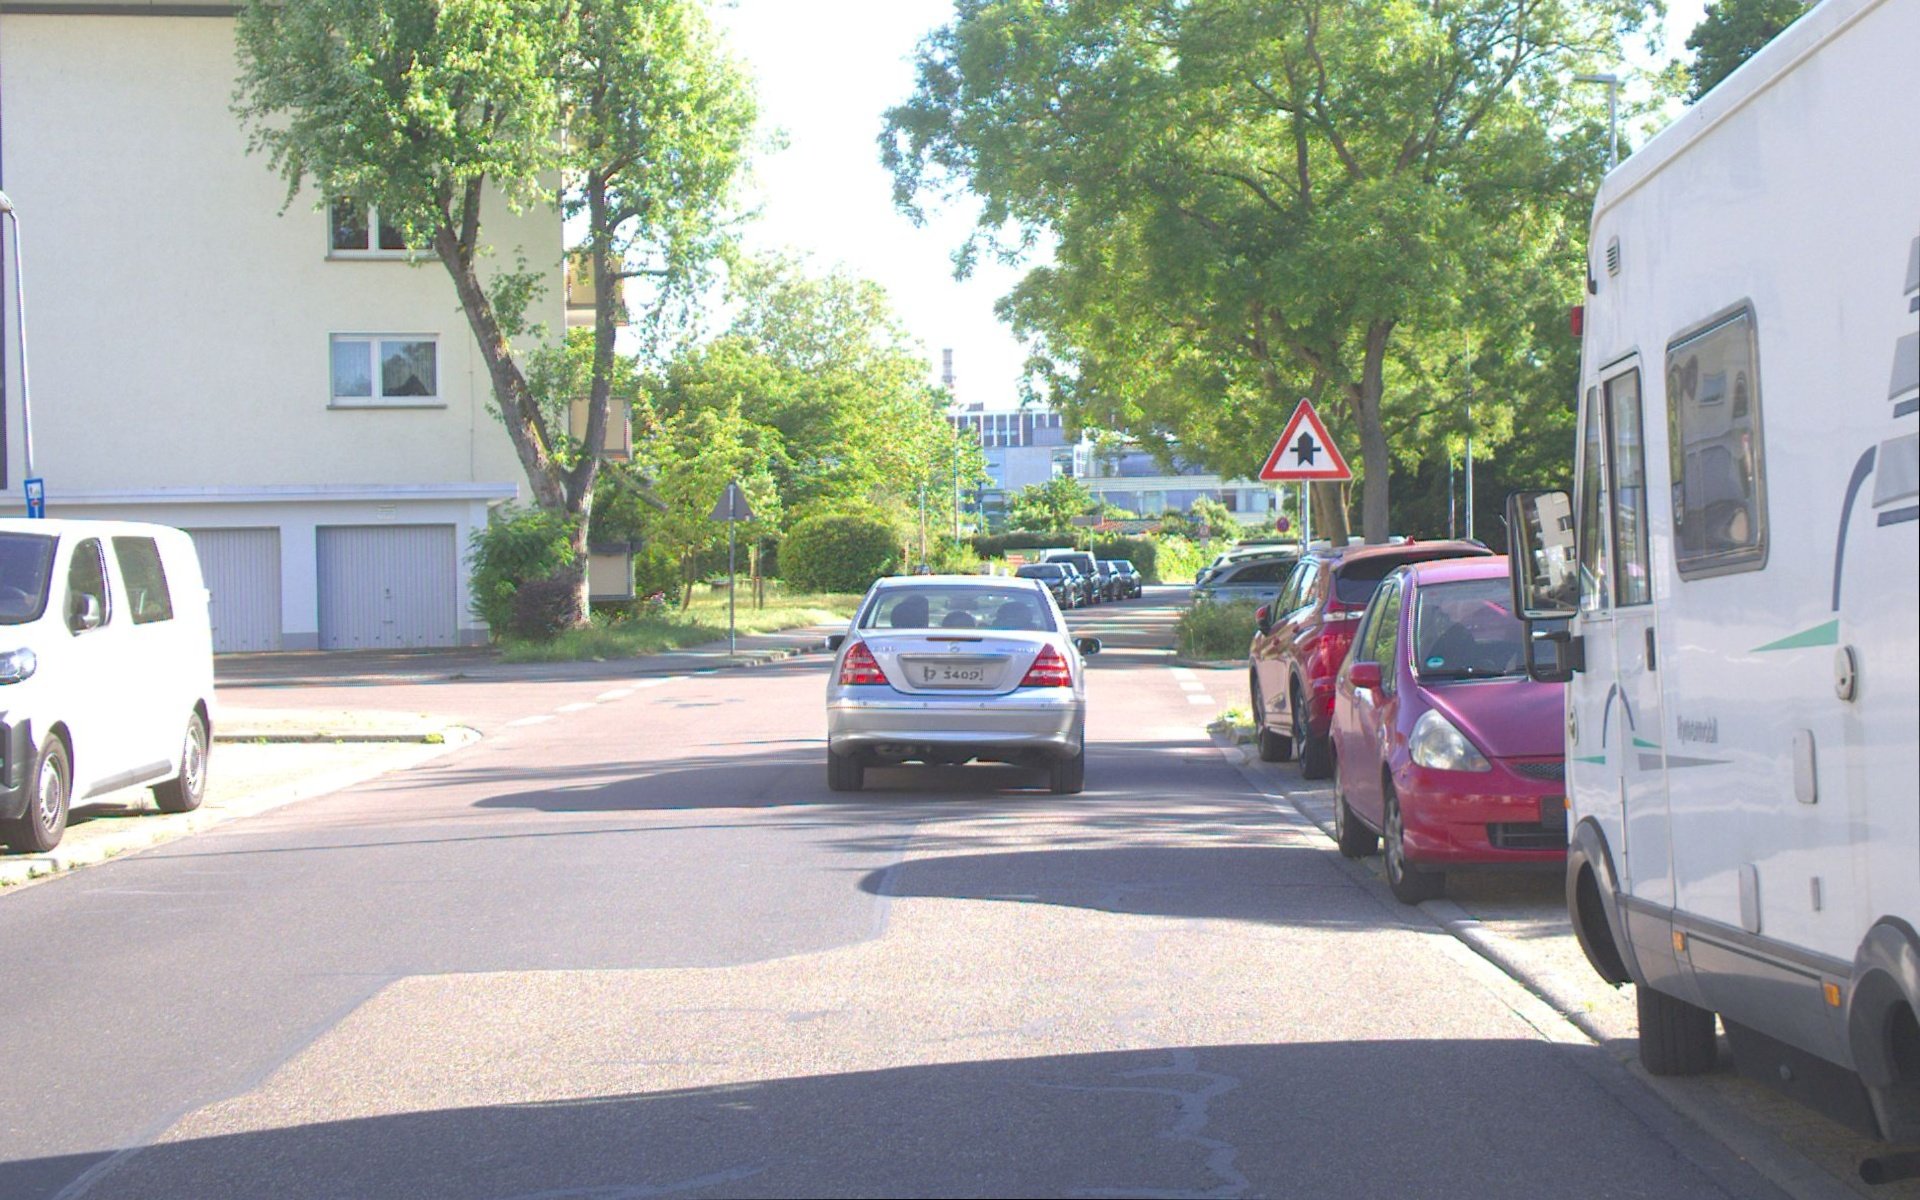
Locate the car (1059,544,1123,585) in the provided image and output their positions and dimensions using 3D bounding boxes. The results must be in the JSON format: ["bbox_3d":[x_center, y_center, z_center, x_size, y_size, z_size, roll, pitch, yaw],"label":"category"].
[{"bbox_3d":[4.747,-1.293,124.137,1.751,1.325,3.449,-3,1,11],"label":"car"}]

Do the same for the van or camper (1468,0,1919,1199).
[{"bbox_3d":[2.987,-0.187,7.798,2.496,2.835,6.852,-2,1,-1],"label":"van or camper"}]

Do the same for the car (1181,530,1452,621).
[{"bbox_3d":[6.463,-0.463,62.750,4.782,1.543,2.011,-1,1,3],"label":"car"}]

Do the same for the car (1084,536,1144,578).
[{"bbox_3d":[5.866,-1.646,130.723,1.751,1.515,4.192,-2,1,9],"label":"car"}]

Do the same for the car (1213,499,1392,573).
[{"bbox_3d":[10.255,-1.908,102.697,5.219,2.052,2.000,-1,1,7],"label":"car"}]

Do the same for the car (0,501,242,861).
[{"bbox_3d":[-5.895,0.380,20.570,2.014,1.879,5.191,1,1,1],"label":"car"}]

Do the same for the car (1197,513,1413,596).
[{"bbox_3d":[8.040,-1.068,80.206,4.885,1.717,2.000,-2,1,6],"label":"car"}]

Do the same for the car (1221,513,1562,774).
[{"bbox_3d":[3.132,0.256,25.869,1.775,1.674,4.645,-4,1,-1],"label":"car"}]

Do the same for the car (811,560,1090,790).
[{"bbox_3d":[-0.030,0.458,23.244,1.733,1.429,3.438,-1,0,1],"label":"car"}]

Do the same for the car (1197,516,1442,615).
[{"bbox_3d":[7.582,-0.744,72.777,4.884,1.917,2.000,-2,1,-2],"label":"car"}]

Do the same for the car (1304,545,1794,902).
[{"bbox_3d":[2.712,0.494,16.665,1.691,1.469,4.000,-2,1,1],"label":"car"}]

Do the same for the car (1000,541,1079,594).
[{"bbox_3d":[2.456,-1.024,105.749,1.914,1.485,3.836,-4,1,8],"label":"car"}]
